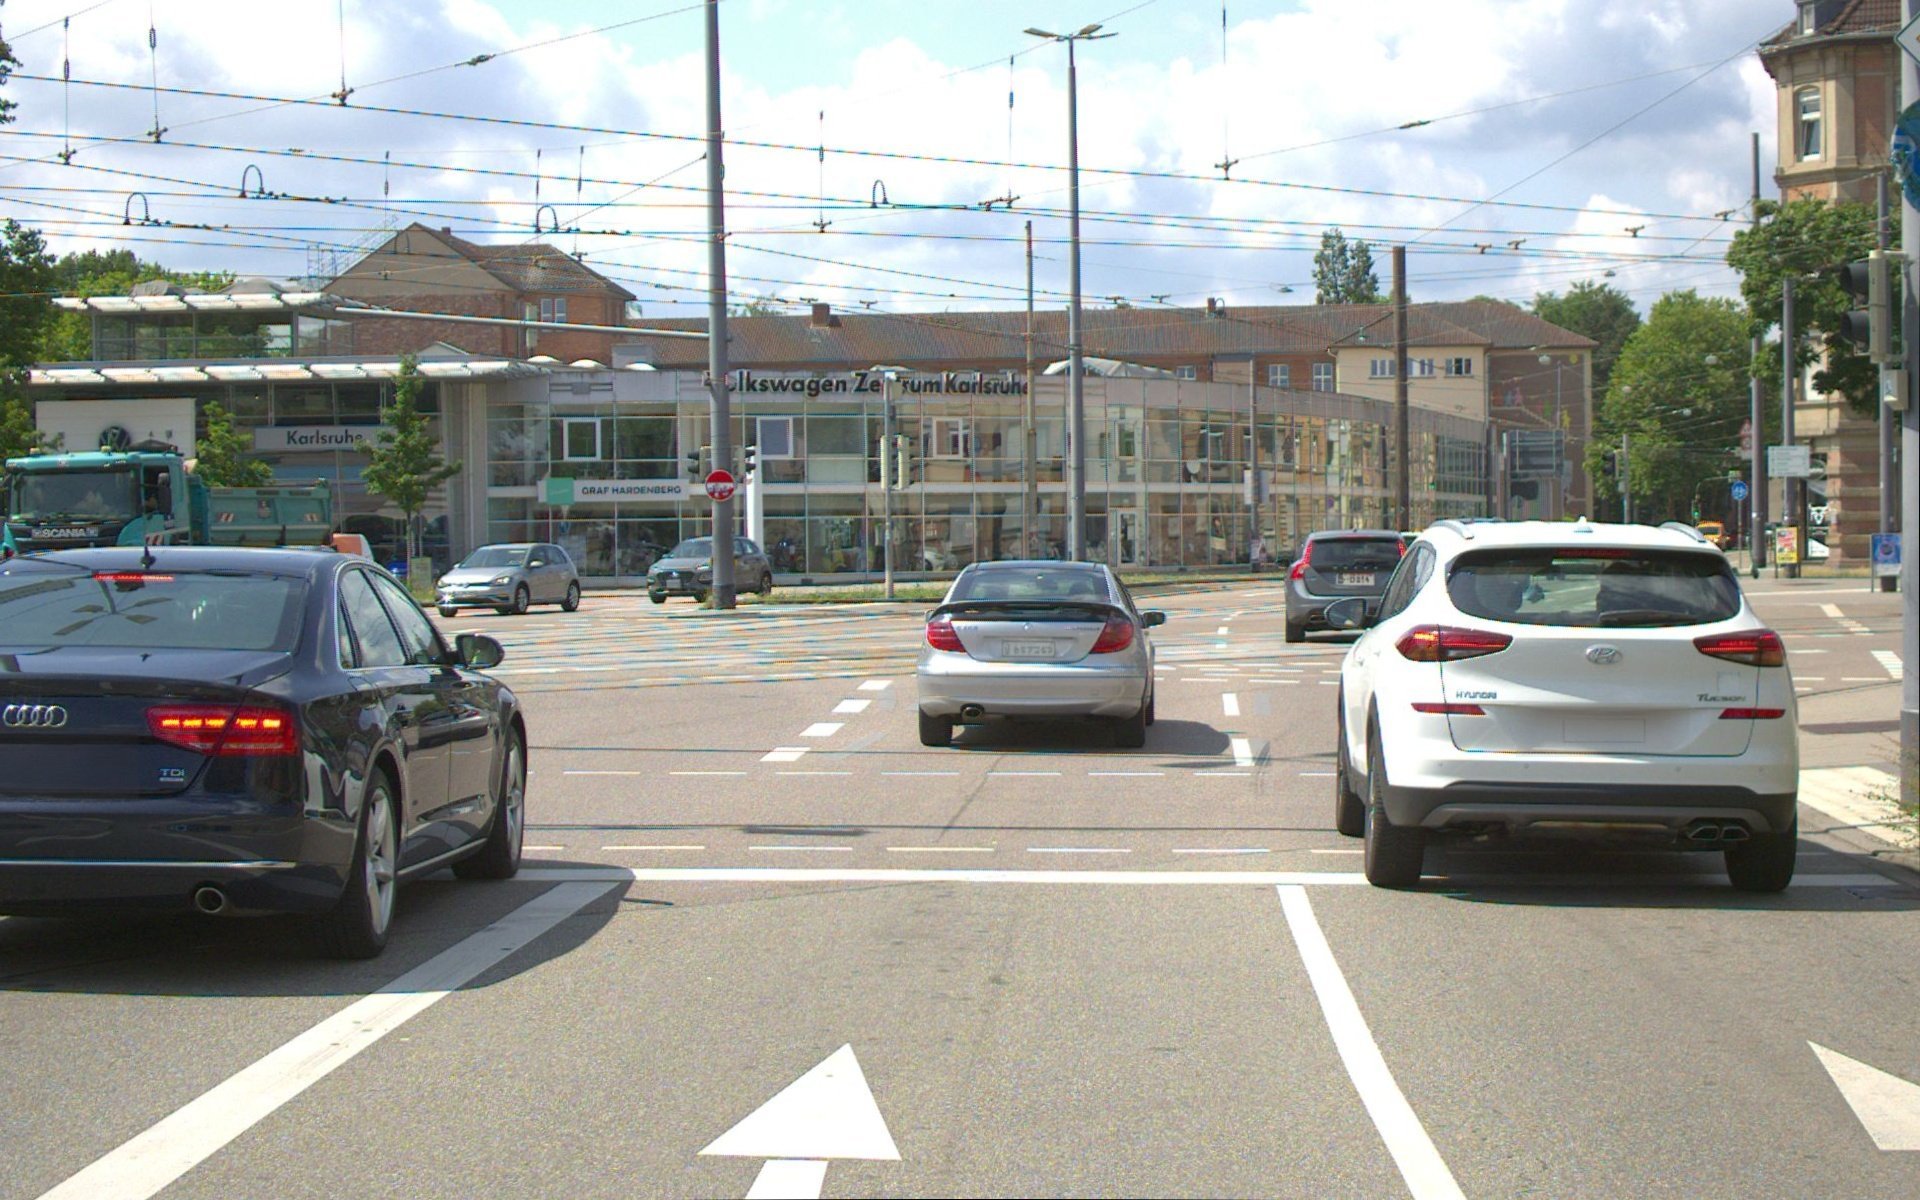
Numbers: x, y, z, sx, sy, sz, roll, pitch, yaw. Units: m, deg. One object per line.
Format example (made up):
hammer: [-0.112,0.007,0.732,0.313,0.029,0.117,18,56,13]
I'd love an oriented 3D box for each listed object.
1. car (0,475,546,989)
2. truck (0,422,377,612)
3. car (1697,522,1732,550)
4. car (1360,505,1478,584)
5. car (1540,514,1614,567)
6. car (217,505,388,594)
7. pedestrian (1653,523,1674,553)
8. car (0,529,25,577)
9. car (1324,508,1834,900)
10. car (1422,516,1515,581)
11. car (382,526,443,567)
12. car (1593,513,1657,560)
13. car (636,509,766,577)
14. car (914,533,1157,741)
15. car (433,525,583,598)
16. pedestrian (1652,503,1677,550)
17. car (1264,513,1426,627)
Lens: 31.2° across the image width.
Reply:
car: [-2.953,0.368,13.366,1.928,1.635,4.792,0,1,2]
truck: [-12.733,-1.352,56.271,2.887,2.842,8.787,0,1,15]
car: [46.964,-3.971,213.850,1.882,1.687,3.954,0,1,16]
car: [9.839,-1.209,73.507,1.882,1.635,3.954,0,1,17]
car: [19.603,-1.903,109.107,1.882,1.635,3.954,0,1,16]
car: [-13.911,-1.102,73.025,1.719,1.794,4.738,-1,1,14]
pedestrian: [21.639,-1.901,105.687,0.525,0.903,1.560,0,0,15]
car: [-32.396,-1.554,113.523,1.993,1.568,4.178,1,0,-2]
car: [2.810,0.388,16.498,1.881,1.635,4.232,0,1,3]
car: [13.203,-1.358,89.176,1.882,1.635,3.954,0,1,16]
car: [-17.774,-1.729,111.567,1.647,1.246,4.001,1,0,-13]
car: [23.780,-2.278,122.843,1.882,1.635,3.954,0,1,16]
car: [-6.041,-1.348,80.501,1.719,1.526,4.118,0,1,16]
car: [0.599,0.226,26.907,1.741,1.387,4.180,1,2,2]
car: [-9.231,-0.812,70.506,1.654,1.429,4.269,0,1,13]
pedestrian: [21.670,-2.256,105.749,0.693,1.452,0.679,0,0,16]
car: [5.060,-0.423,44.823,1.882,1.414,3.956,0,1,10]
